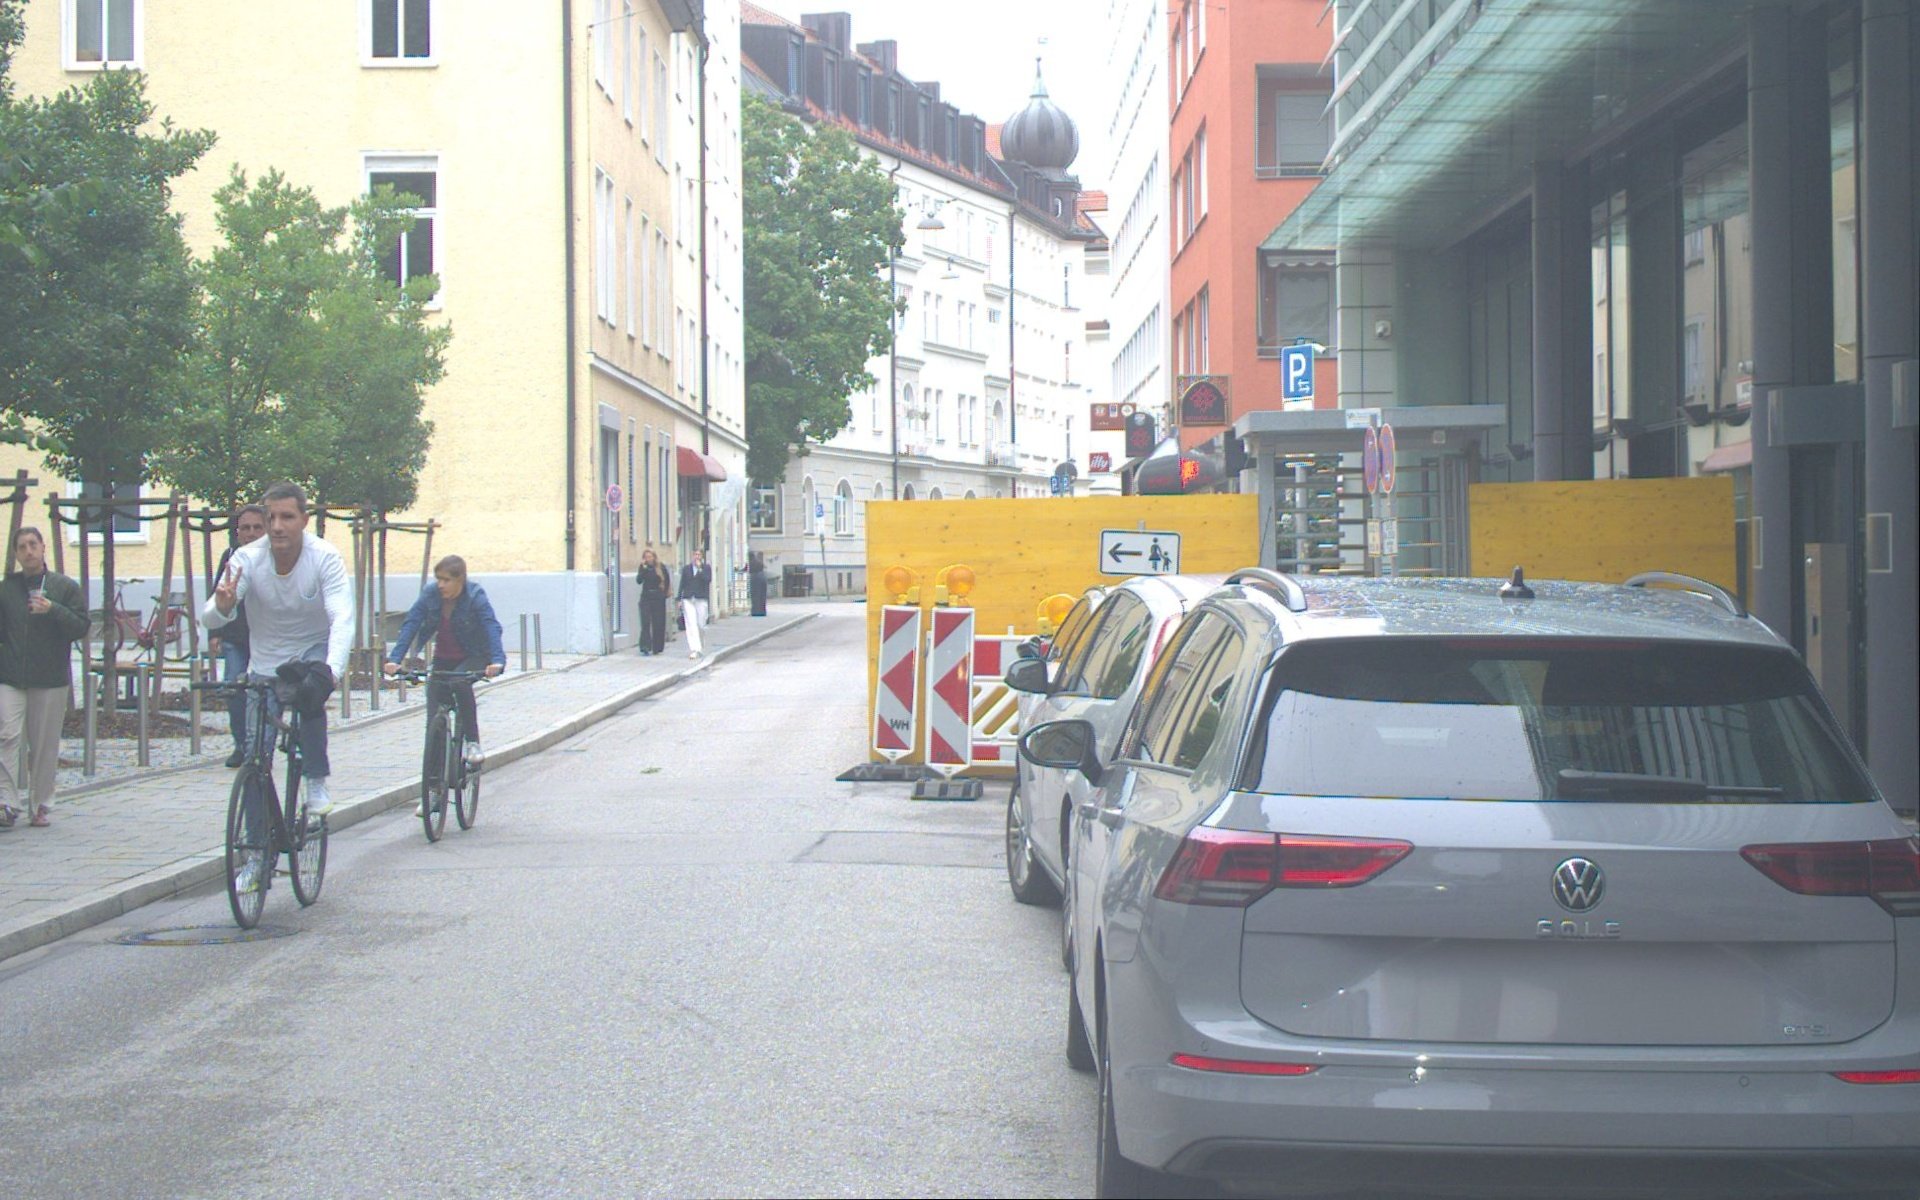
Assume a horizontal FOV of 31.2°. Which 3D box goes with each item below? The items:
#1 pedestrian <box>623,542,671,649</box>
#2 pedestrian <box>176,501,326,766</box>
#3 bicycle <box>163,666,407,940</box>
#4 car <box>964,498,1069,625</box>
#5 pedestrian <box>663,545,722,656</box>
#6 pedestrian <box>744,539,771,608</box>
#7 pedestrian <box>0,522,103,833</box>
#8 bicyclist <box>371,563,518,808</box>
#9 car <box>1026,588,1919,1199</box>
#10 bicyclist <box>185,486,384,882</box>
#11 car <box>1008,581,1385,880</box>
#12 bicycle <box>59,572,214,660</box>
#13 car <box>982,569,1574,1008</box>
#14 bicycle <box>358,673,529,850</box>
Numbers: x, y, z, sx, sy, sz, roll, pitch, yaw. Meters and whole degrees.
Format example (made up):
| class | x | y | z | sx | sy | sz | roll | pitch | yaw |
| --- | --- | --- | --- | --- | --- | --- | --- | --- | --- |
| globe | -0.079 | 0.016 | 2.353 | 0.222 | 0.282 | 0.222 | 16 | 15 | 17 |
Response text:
| class | x | y | z | sx | sy | sz | roll | pitch | yaw |
| --- | --- | --- | --- | --- | --- | --- | --- | --- | --- |
| pedestrian | -4.875 | -0.076 | 53.599 | 0.670 | 1.642 | 0.761 | 0 | 0 | -1 |
| pedestrian | -5.133 | 0.231 | 24.947 | 0.867 | 1.875 | 1.135 | 0 | 0 | -1 |
| bicycle | -2.880 | 0.838 | 14.852 | 0.661 | 1.035 | 2.005 | -1 | 1 | 0 |
| car | 1.135 | -0.809 | 71.040 | 1.993 | 2.528 | 4.975 | 0 | 1 | -1 |
| pedestrian | -4.135 | 0.003 | 53.186 | 0.839 | 1.695 | 0.803 | 0 | 0 | 0 |
| pedestrian | -4.933 | -0.645 | 83.794 | 0.634 | 1.669 | 0.517 | 0 | 1 | 0 |
| pedestrian | -5.115 | 0.415 | 18.871 | 0.647 | 1.671 | 0.724 | 0 | 0 | -1 |
| bicyclist | -2.948 | 0.476 | 19.716 | 0.707 | 1.366 | 0.813 | -1 | 1 | 0 |
| car | 1.090 | 0.702 | 8.468 | 1.708 | 1.427 | 4.329 | 0 | 1 | -1 |
| bicyclist | -2.883 | 0.343 | 14.738 | 0.659 | 1.637 | 0.895 | -1 | 1 | 0 |
| car | 1.176 | 0.621 | 18.922 | 1.708 | 1.409 | 4.510 | 1 | 0 | 0 |
| bicycle | -11.493 | 0.216 | 47.993 | 2.044 | 1.193 | 0.570 | 0 | 1 | 7 |
| car | 1.094 | 0.626 | 13.763 | 1.707 | 1.462 | 4.238 | 1 | 0 | -3 |
| bicycle | -2.946 | 0.907 | 19.752 | 0.707 | 0.902 | 1.809 | -1 | 1 | 0 |
